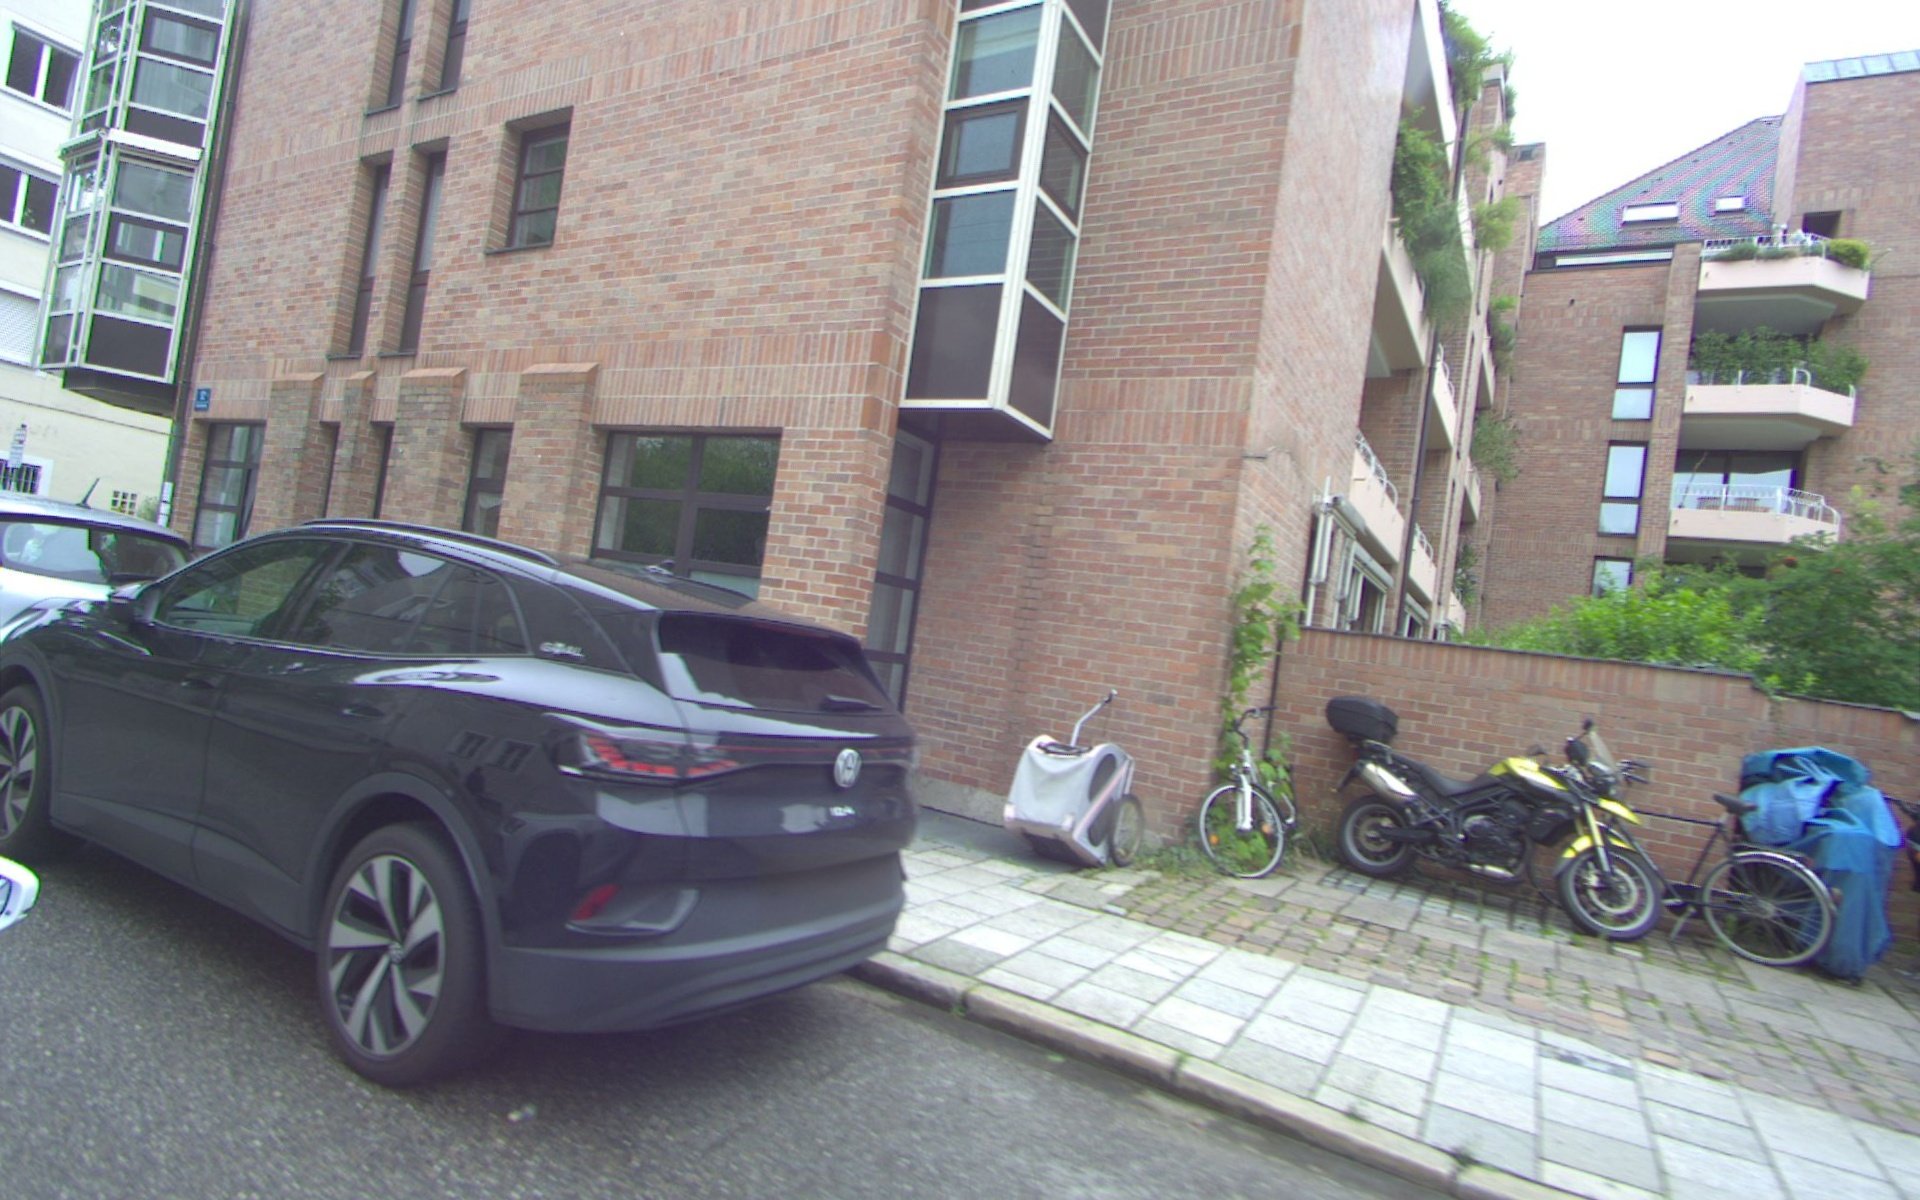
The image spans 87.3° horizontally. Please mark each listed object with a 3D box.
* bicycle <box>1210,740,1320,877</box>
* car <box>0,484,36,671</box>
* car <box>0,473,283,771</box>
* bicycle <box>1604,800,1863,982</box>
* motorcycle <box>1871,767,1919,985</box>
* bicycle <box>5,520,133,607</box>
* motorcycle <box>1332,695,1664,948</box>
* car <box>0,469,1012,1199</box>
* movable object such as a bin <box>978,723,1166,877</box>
[{"bbox_3d":[2.343,1.537,7.651,0.407,0.869,1.319,6,-2,31],"label":"bicycle"},{"bbox_3d":[-10.666,-0.491,9.305,4.124,1.648,1.753,7,-2,29],"label":"car"},{"bbox_3d":[-6.772,0.000,6.963,3.814,1.654,1.726,6,-2,28],"label":"car"},{"bbox_3d":[5.203,1.932,6.847,1.299,0.869,0.375,6,-2,35],"label":"bicycle"},{"bbox_3d":[6.864,1.894,6.883,0.542,1.358,2.517,6,-2,36],"label":"motorcycle"},{"bbox_3d":[-13.819,-0.556,15.618,1.524,1.091,0.380,9,-2,3],"label":"bicycle"},{"bbox_3d":[3.799,1.497,7.241,1.914,1.360,0.539,6,-2,43],"label":"motorcycle"},{"bbox_3d":[-2.214,0.524,4.242,4.316,1.572,1.892,7,-3,29],"label":"car"},{"bbox_3d":[0.807,1.353,7.028,0.830,0.841,1.089,7,-3,32],"label":"movable object such as a bin"}]
